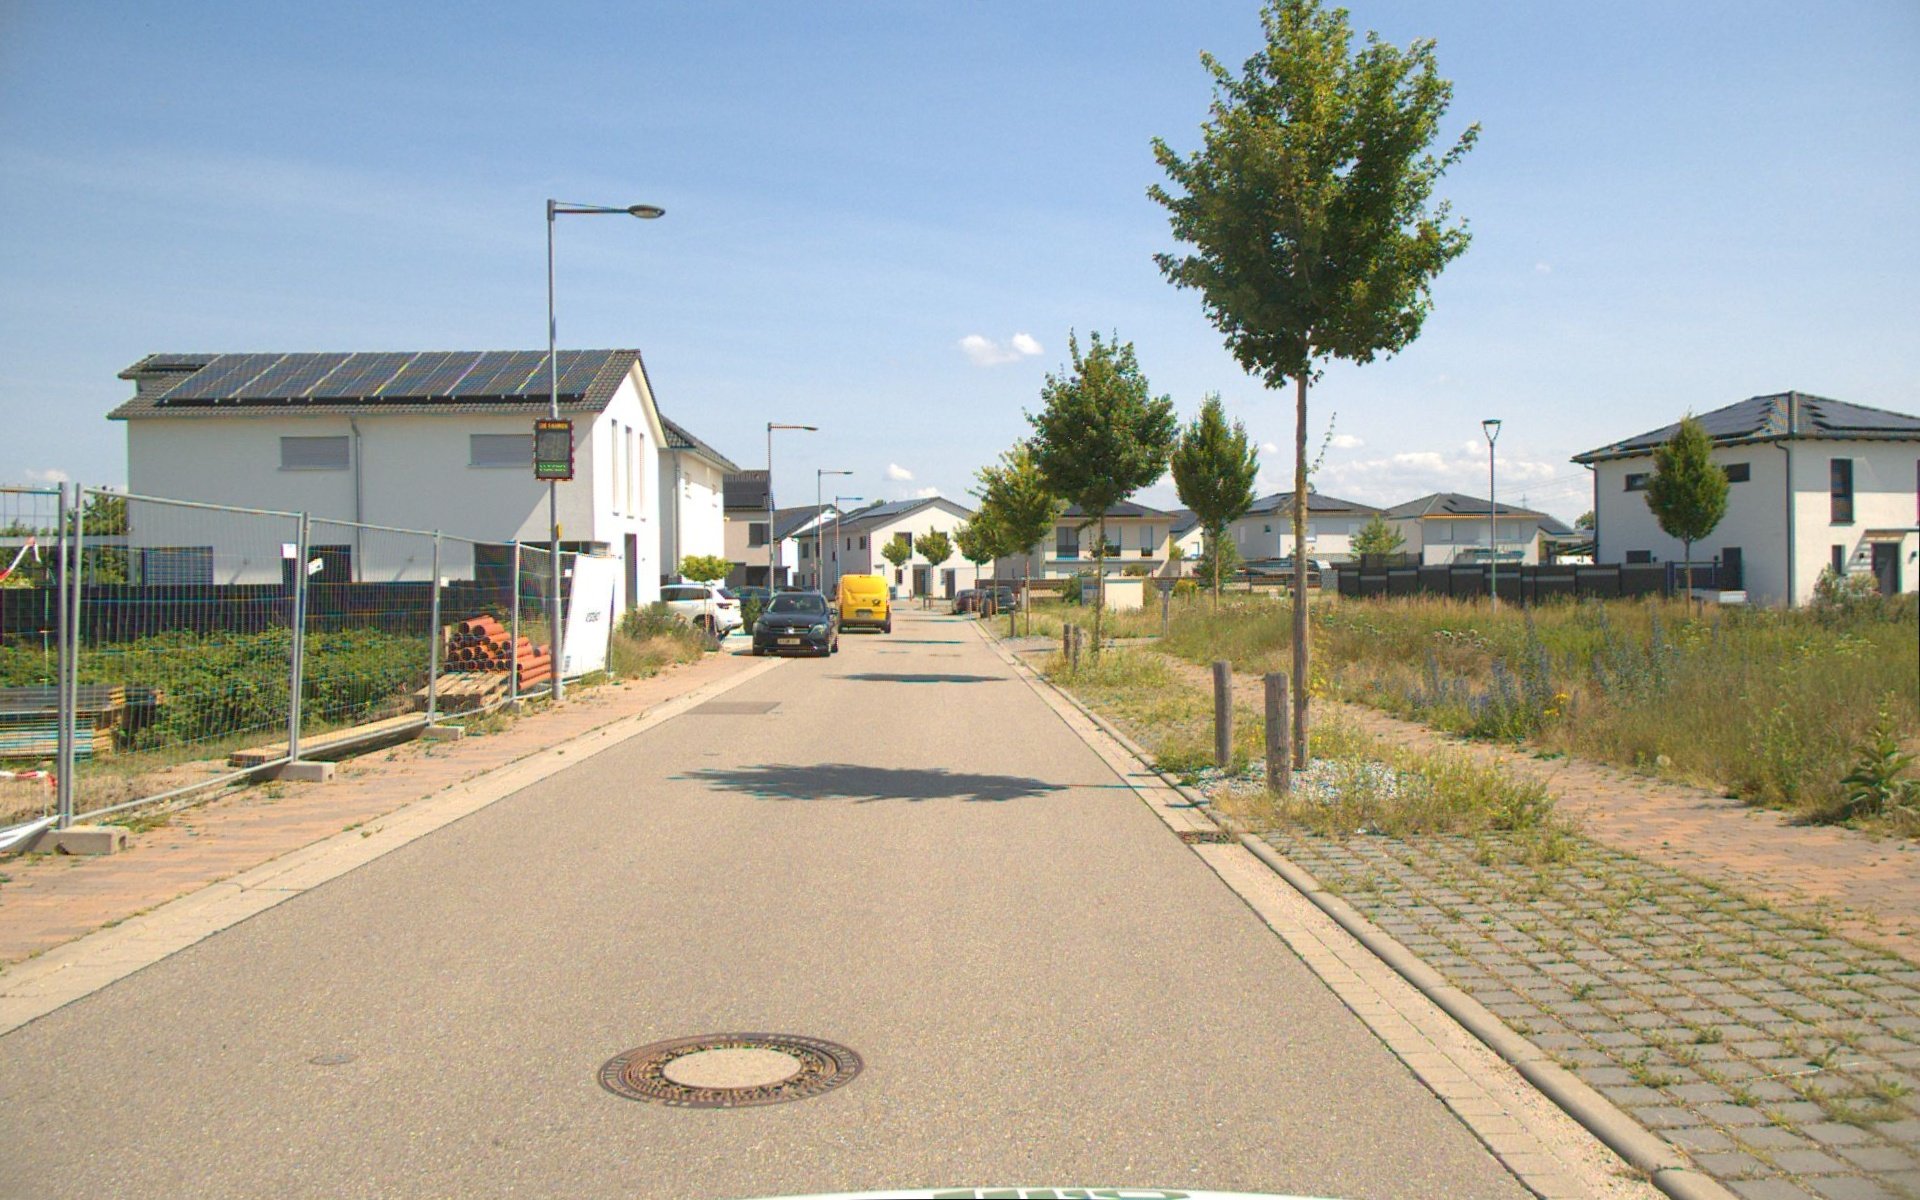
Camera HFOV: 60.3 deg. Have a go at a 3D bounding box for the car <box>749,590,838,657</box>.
[{"bbox_3d":[-3.866,0.509,38.973,1.710,1.429,4.159,1,1,-1],"label":"car"}]

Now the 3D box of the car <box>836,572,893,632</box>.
[{"bbox_3d":[-3.447,0.084,59.111,1.903,2.016,4.213,-1,0,-5],"label":"car"}]

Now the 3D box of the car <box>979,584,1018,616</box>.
[{"bbox_3d":[1.820,0.026,79.277,1.606,1.427,3.809,-1,-1,-2],"label":"car"}]

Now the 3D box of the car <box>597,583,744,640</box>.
[{"bbox_3d":[-8.610,0.324,49.377,3.983,1.609,1.785,1,1,5],"label":"car"}]

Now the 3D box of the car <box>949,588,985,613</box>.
[{"bbox_3d":[0.384,0.023,97.866,1.597,1.346,3.827,-1,-2,-7],"label":"car"}]
